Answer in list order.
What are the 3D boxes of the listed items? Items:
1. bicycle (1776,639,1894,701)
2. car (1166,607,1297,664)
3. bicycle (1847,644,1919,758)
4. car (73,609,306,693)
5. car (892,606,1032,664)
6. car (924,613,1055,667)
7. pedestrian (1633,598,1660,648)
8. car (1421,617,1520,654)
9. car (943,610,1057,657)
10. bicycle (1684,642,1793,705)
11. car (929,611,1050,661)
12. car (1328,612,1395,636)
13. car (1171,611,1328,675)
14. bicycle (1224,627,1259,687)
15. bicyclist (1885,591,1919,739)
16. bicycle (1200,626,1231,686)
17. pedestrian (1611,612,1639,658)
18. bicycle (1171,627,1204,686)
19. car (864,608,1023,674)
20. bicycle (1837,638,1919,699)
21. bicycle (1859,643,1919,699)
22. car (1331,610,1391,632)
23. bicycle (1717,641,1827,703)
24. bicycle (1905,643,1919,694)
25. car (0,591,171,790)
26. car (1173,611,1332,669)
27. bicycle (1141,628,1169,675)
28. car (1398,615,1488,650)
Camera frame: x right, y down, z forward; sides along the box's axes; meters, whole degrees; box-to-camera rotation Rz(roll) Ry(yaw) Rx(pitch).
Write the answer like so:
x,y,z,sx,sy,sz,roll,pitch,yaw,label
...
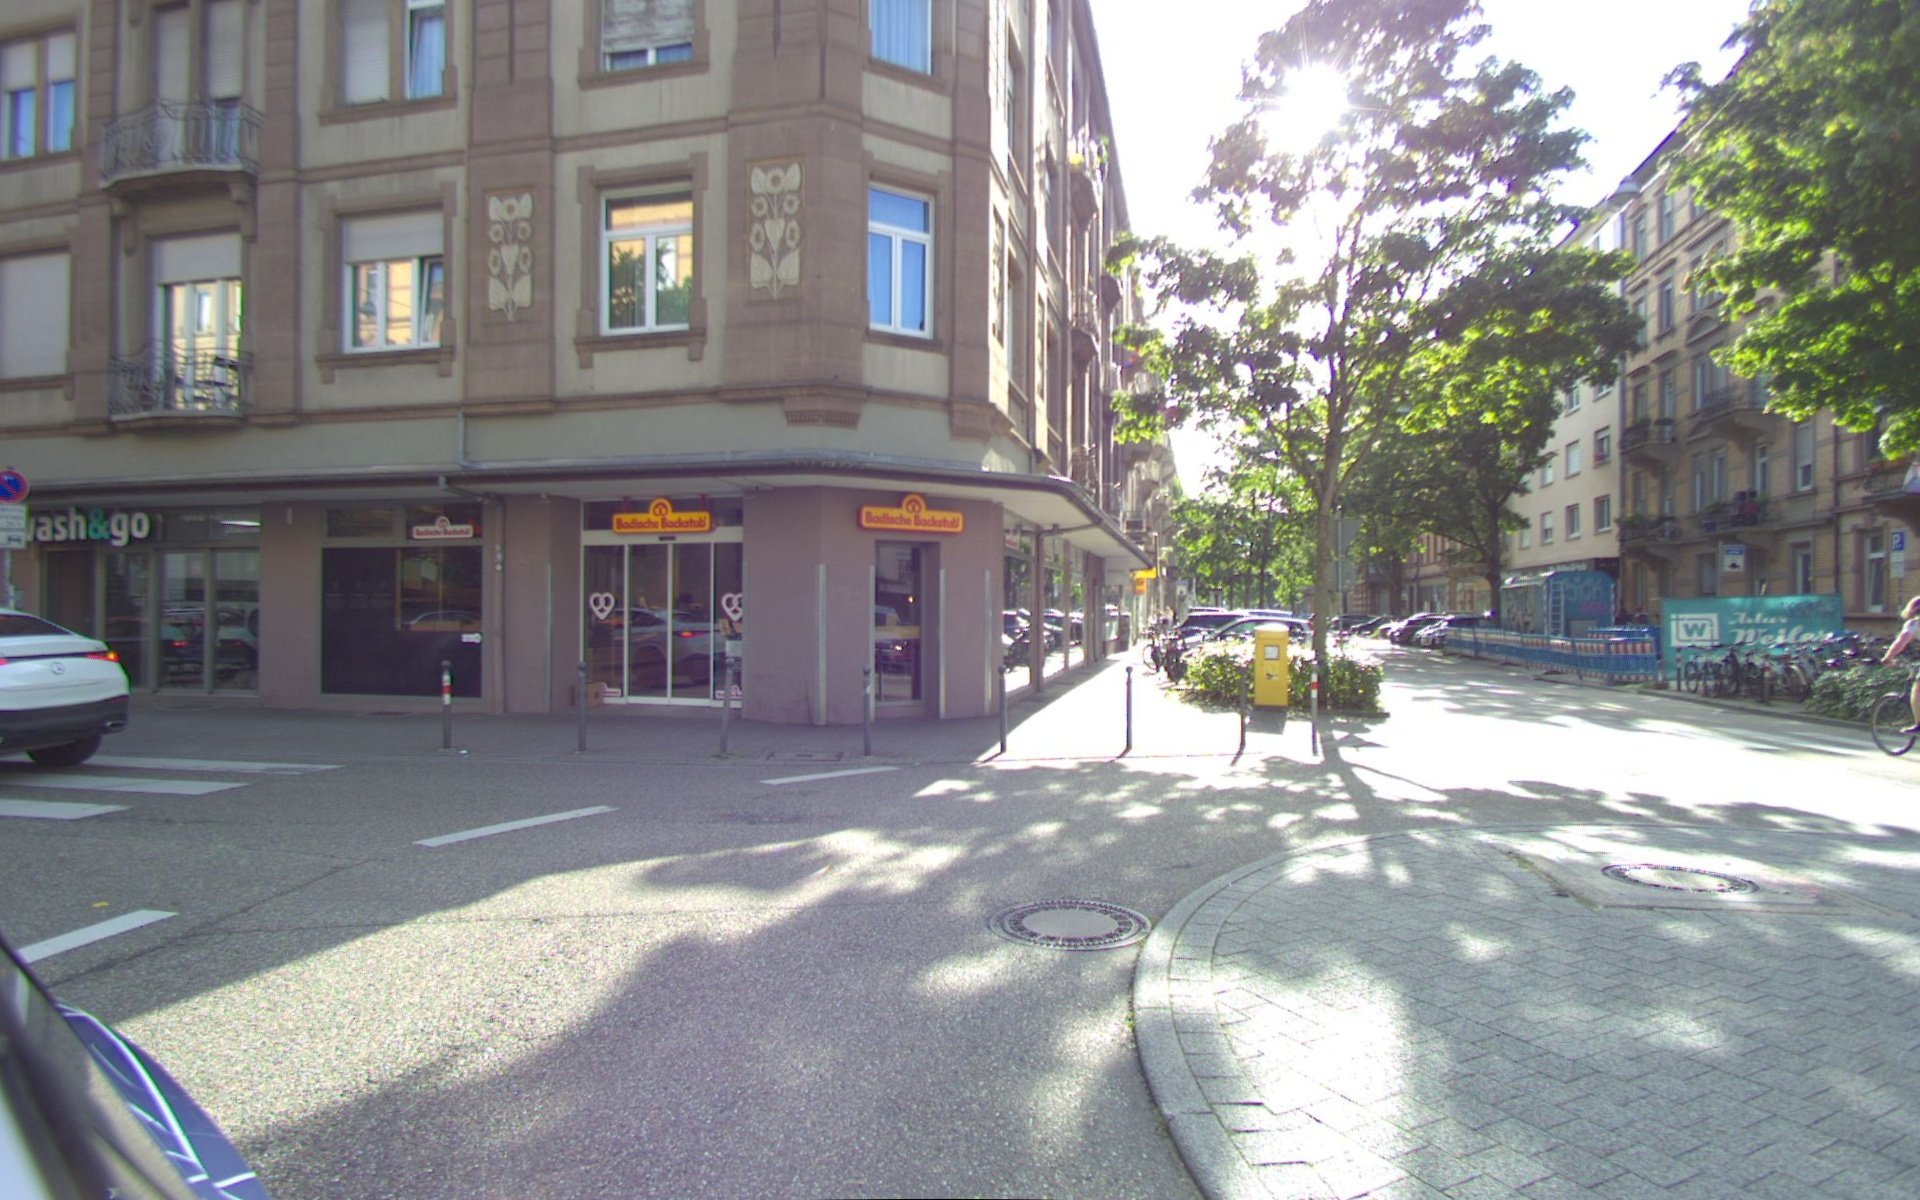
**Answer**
x,y,z,sx,sy,sz,roll,pitch,yaw,label
16.290,1.279,18.909,0.584,1.019,2.072,-2,-1,8,bicycle
8.057,1.050,30.206,3.664,1.608,1.570,-1,0,15,car
10.730,1.104,10.996,0.685,1.208,1.972,1,-1,9,bicycle
-16.938,1.061,22.526,1.975,1.633,3.994,-1,0,5,car
0.098,1.001,29.381,3.948,1.563,1.764,-1,0,4,car
0.943,1.222,31.468,3.948,1.563,1.764,-1,0,4,car
25.091,0.837,36.996,0.618,1.832,0.519,0,-1,13,pedestrian
23.564,1.620,46.850,3.977,1.614,1.864,0,0,25,car
1.449,1.182,36.057,3.948,1.563,1.764,-1,0,4,car
14.644,1.354,19.112,0.584,1.037,2.137,-2,-1,8,bicycle
1.010,1.202,34.075,3.948,1.563,1.764,-1,0,4,car
27.392,1.652,69.182,3.961,1.582,1.828,-1,0,14,car
7.154,1.058,25.314,3.662,1.487,1.571,-1,0,13,car
5.825,1.141,20.996,0.473,1.143,2.423,0,-1,11,bicycle
10.710,0.704,10.821,0.685,1.599,1.124,1,-1,9,bicyclist
5.303,1.130,21.103,0.473,1.143,2.423,0,-1,11,bicycle
24.404,1.275,37.150,0.694,1.685,0.519,0,-1,12,pedestrian
4.745,1.150,21.214,0.573,1.143,2.423,0,-1,11,bicycle
-0.363,1.031,25.989,3.948,1.563,1.764,-1,0,4,car
17.546,1.256,18.966,0.584,1.019,2.072,-2,-1,8,bicycle
18.247,1.347,19.267,0.584,0.976,2.072,-2,-1,8,bicycle
30.001,1.574,75.782,3.961,1.582,1.828,-1,0,14,car
15.247,1.323,19.075,0.584,1.037,2.072,-2,-1,8,bicycle
18.953,1.327,19.040,0.584,0.976,2.072,-2,-1,8,bicycle
-10.253,0.803,9.340,4.789,1.647,1.994,-1,-1,9,car
7.885,1.069,27.568,4.036,1.487,1.570,-1,0,15,car
4.771,1.242,24.768,0.598,1.036,1.776,-1,0,9,bicycle
24.061,1.588,50.520,3.977,1.614,1.864,0,0,25,car
